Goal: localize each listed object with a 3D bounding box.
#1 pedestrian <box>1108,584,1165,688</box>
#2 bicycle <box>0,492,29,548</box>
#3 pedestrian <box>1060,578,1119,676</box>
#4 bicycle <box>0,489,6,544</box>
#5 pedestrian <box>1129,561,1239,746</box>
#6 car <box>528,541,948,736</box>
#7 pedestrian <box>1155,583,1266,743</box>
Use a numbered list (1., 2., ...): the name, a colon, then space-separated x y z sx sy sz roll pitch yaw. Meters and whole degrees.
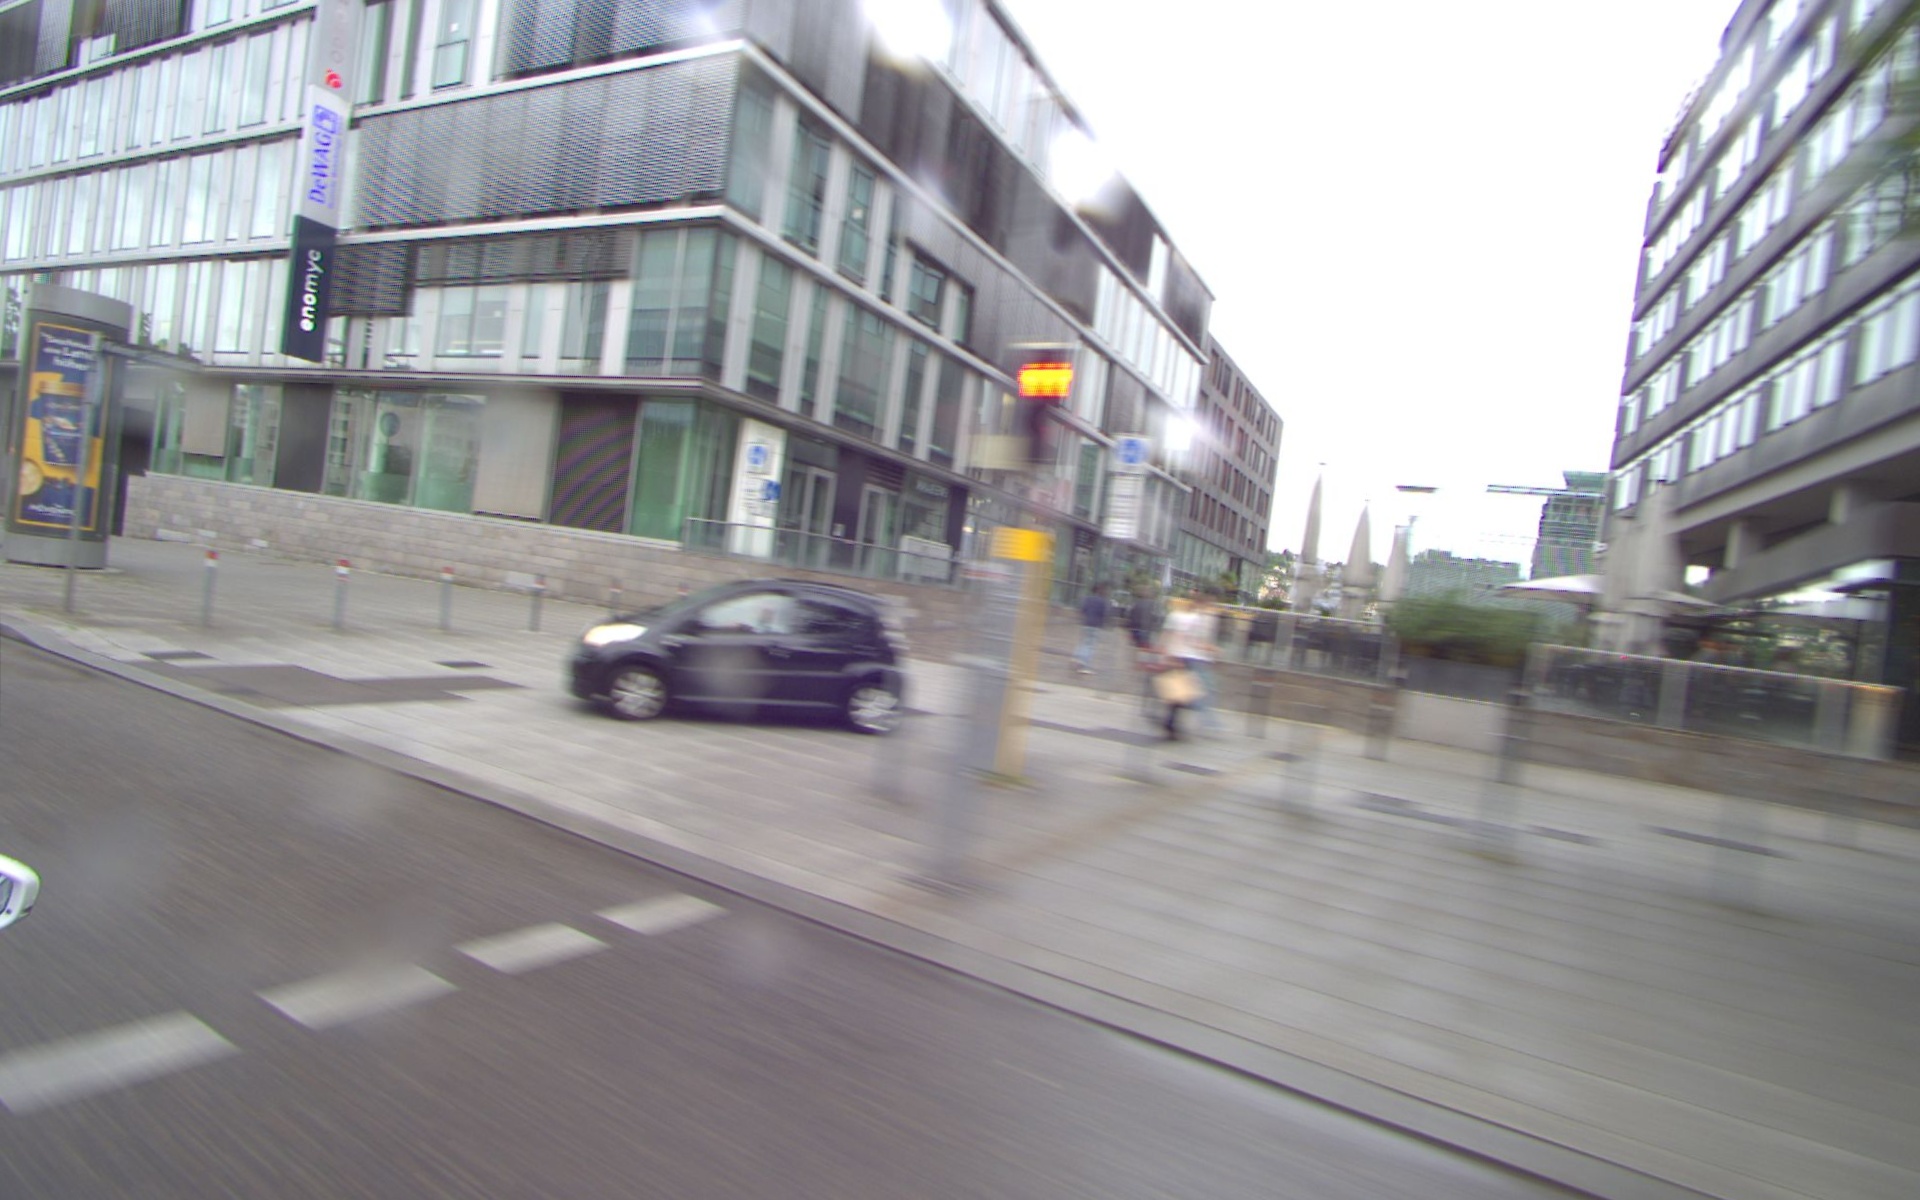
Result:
1. pedestrian: 3.300 0.677 18.769 0.669 1.845 0.650 8 1 27
2. bicycle: -20.566 -1.751 20.652 0.796 1.118 1.982 7 1 36
3. pedestrian: 2.483 0.521 19.232 0.767 1.746 0.644 8 1 24
4. bicycle: -22.007 -1.924 21.767 0.650 1.213 1.835 8 2 36
5. pedestrian: 2.688 0.643 12.030 0.742 2.064 0.849 8 1 39
6. car: -2.227 0.400 10.288 3.779 1.434 1.628 7 0 -19
7. pedestrian: 3.196 0.803 12.832 0.885 1.891 0.800 8 1 40
